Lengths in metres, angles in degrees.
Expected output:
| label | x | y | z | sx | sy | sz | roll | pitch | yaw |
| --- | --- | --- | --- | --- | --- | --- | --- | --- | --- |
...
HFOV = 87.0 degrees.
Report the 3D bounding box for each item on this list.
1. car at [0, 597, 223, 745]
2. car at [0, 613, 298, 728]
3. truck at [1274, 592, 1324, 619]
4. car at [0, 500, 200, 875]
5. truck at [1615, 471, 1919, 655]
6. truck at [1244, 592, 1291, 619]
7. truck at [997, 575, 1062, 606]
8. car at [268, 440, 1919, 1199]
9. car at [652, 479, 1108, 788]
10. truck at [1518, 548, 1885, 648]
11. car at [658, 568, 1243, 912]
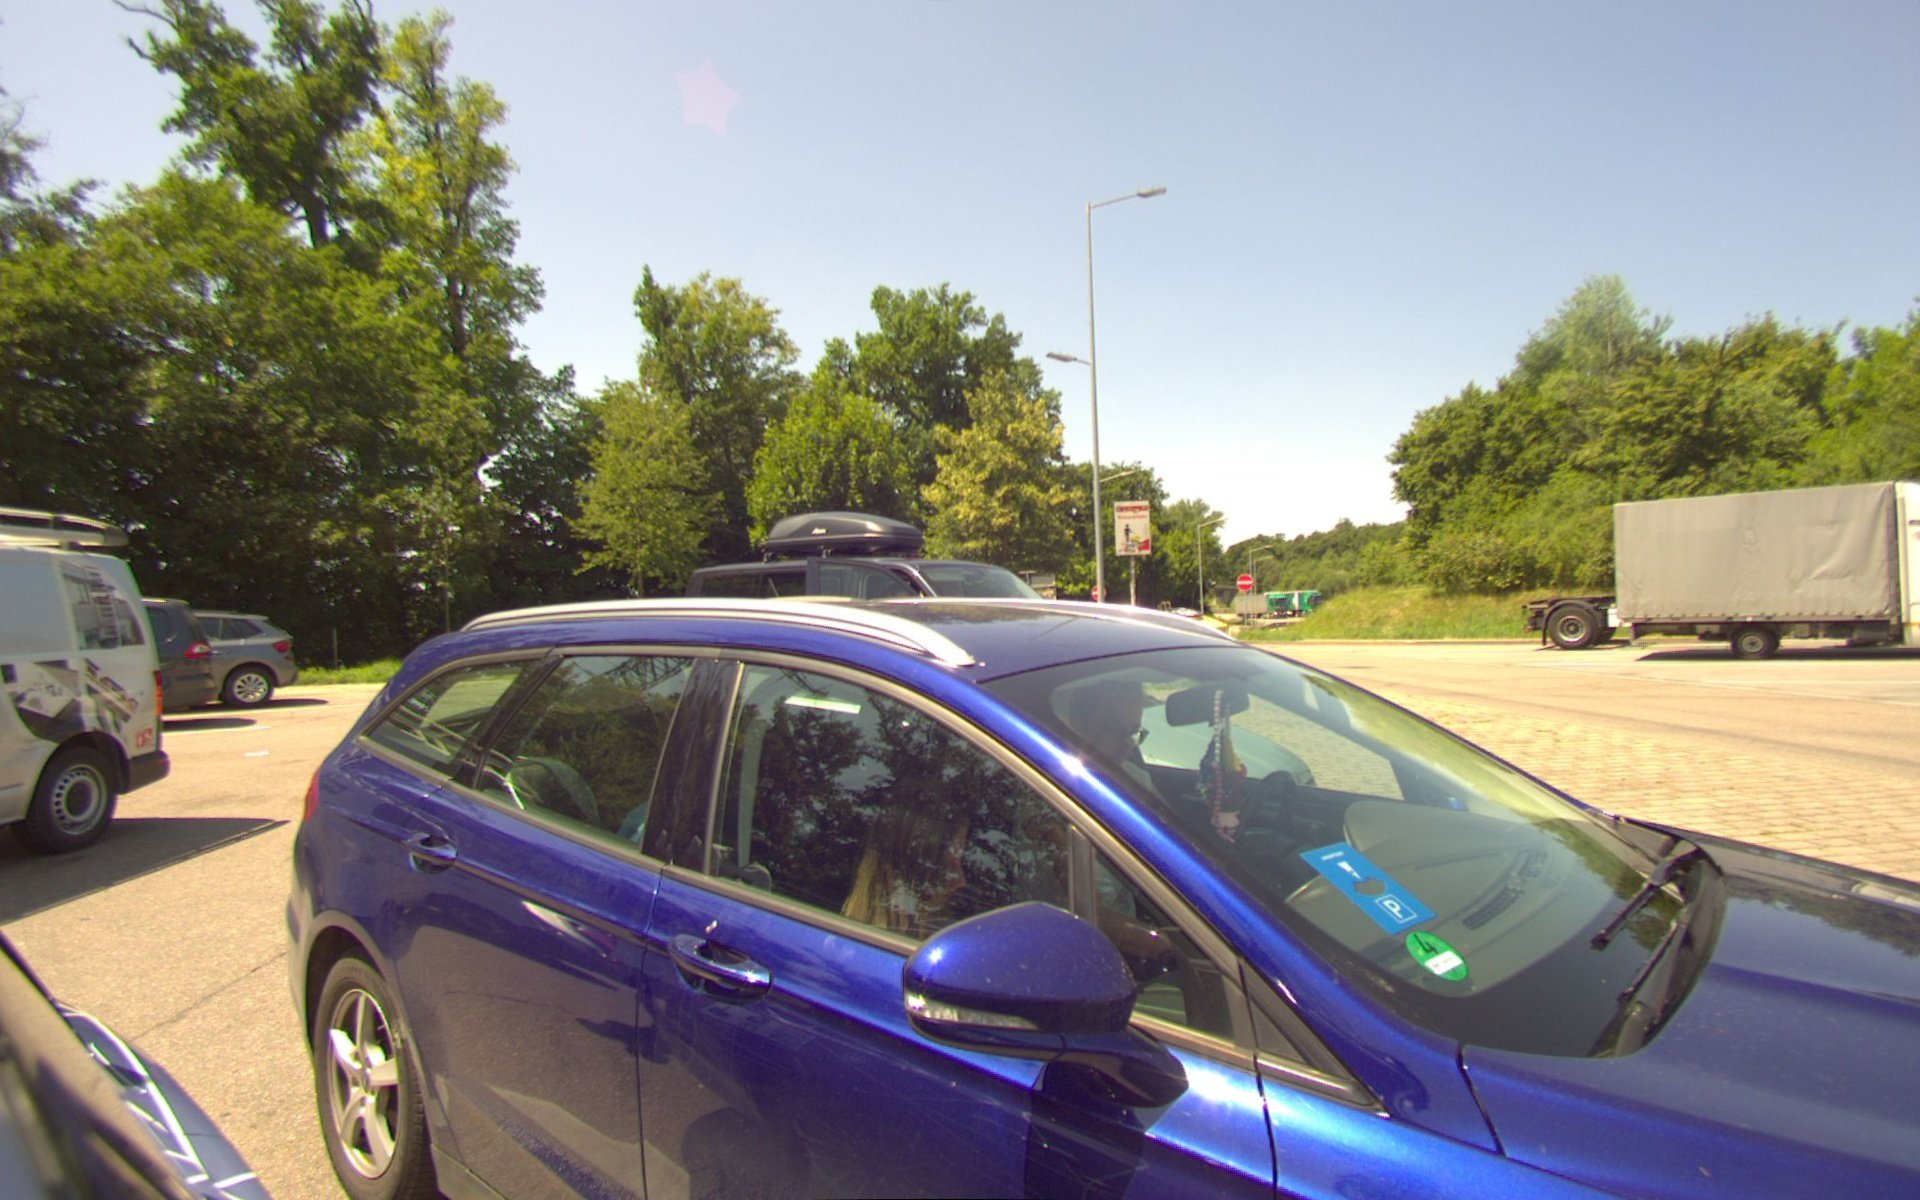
| label | x | y | z | sx | sy | sz | roll | pitch | yaw |
| --- | --- | --- | --- | --- | --- | --- | --- | --- | --- |
| car | -11.642 | 0.848 | 12.561 | 1.755 | 1.701 | 3.798 | -2 | -1 | 45 |
| car | -12.519 | 0.997 | 15.707 | 3.535 | 1.513 | 1.708 | -1 | 0 | -42 |
| truck | 52.789 | 0.818 | 158.164 | 2.682 | 4.119 | 11.506 | -1 | 0 | -7 |
| car | -6.258 | 0.482 | 4.656 | 1.816 | 2.121 | 5.440 | 0 | -1 | -5 |
| truck | 16.662 | -0.624 | 18.775 | 7.253 | 3.175 | 2.148 | -2 | -1 | 41 |
| truck | 48.246 | 0.878 | 159.198 | 2.682 | 4.119 | 11.506 | -1 | 0 | -7 |
| truck | 3.350 | -0.459 | 48.784 | 2.866 | 1.386 | 1.158 | -2 | -1 | 22 |
| car | 0.251 | 0.641 | 2.077 | 4.411 | 1.429 | 1.721 | -2 | -1 | 41 |
| car | -0.863 | 0.315 | 9.566 | 4.076 | 2.336 | 1.767 | -2 | -1 | 35 |
| truck | 16.898 | 0.049 | 23.482 | 6.613 | 2.029 | 1.973 | -2 | -1 | 41 |
| car | -0.207 | 0.595 | 5.565 | 3.112 | 1.370 | 1.326 | -2 | -1 | 41 |
